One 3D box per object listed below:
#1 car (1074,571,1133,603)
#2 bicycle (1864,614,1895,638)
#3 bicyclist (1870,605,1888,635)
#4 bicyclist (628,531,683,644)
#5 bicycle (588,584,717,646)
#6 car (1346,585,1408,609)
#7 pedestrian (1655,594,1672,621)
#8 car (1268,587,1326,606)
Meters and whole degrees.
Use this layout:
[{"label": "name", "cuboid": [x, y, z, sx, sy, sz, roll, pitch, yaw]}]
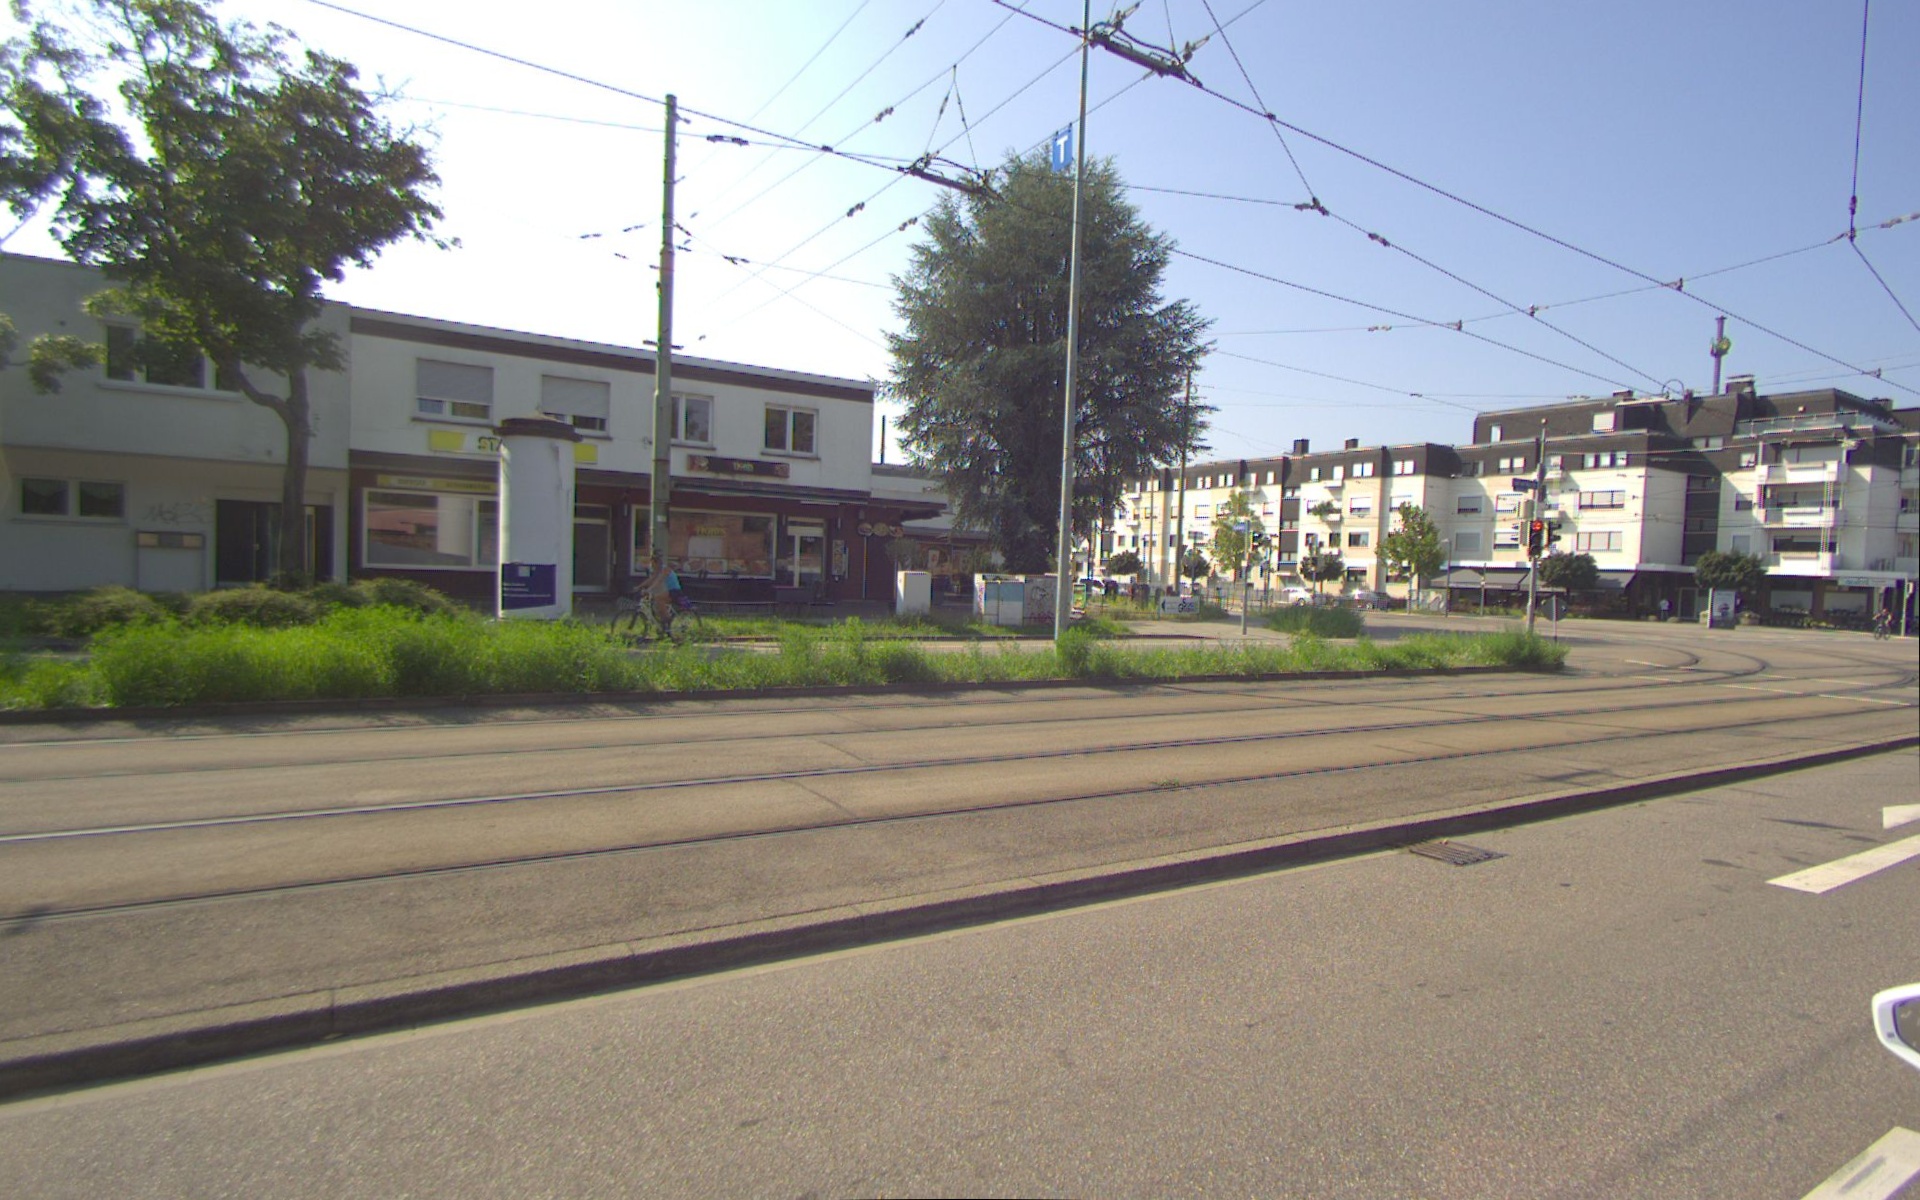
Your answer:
[{"label": "car", "cuboid": [9.581, -0.885, 67.229, 1.802, 1.912, 3.994, 1, 3, -29]}, {"label": "bicycle", "cuboid": [48.780, 1.382, 53.268, 2.182, 1.195, 0.572, 1, 1, -30]}, {"label": "bicyclist", "cuboid": [48.701, 1.053, 53.214, 0.484, 1.543, 0.565, 1, 0, -30]}, {"label": "bicyclist", "cuboid": [-5.809, -0.228, 19.156, 0.768, 2.092, 0.632, 1, 0, -41]}, {"label": "bicycle", "cuboid": [-5.828, 0.285, 19.131, 2.247, 1.106, 0.709, 1, 0, -41]}, {"label": "car", "cuboid": [32.389, -0.263, 78.105, 1.909, 1.527, 4.086, 1, 3, -32]}, {"label": "pedestrian", "cuboid": [46.848, 0.515, 66.905, 0.690, 1.764, 0.676, 1, 0, -31]}, {"label": "car", "cuboid": [25.808, -0.283, 77.087, 1.654, 1.317, 4.086, 1, 0, -32]}]
